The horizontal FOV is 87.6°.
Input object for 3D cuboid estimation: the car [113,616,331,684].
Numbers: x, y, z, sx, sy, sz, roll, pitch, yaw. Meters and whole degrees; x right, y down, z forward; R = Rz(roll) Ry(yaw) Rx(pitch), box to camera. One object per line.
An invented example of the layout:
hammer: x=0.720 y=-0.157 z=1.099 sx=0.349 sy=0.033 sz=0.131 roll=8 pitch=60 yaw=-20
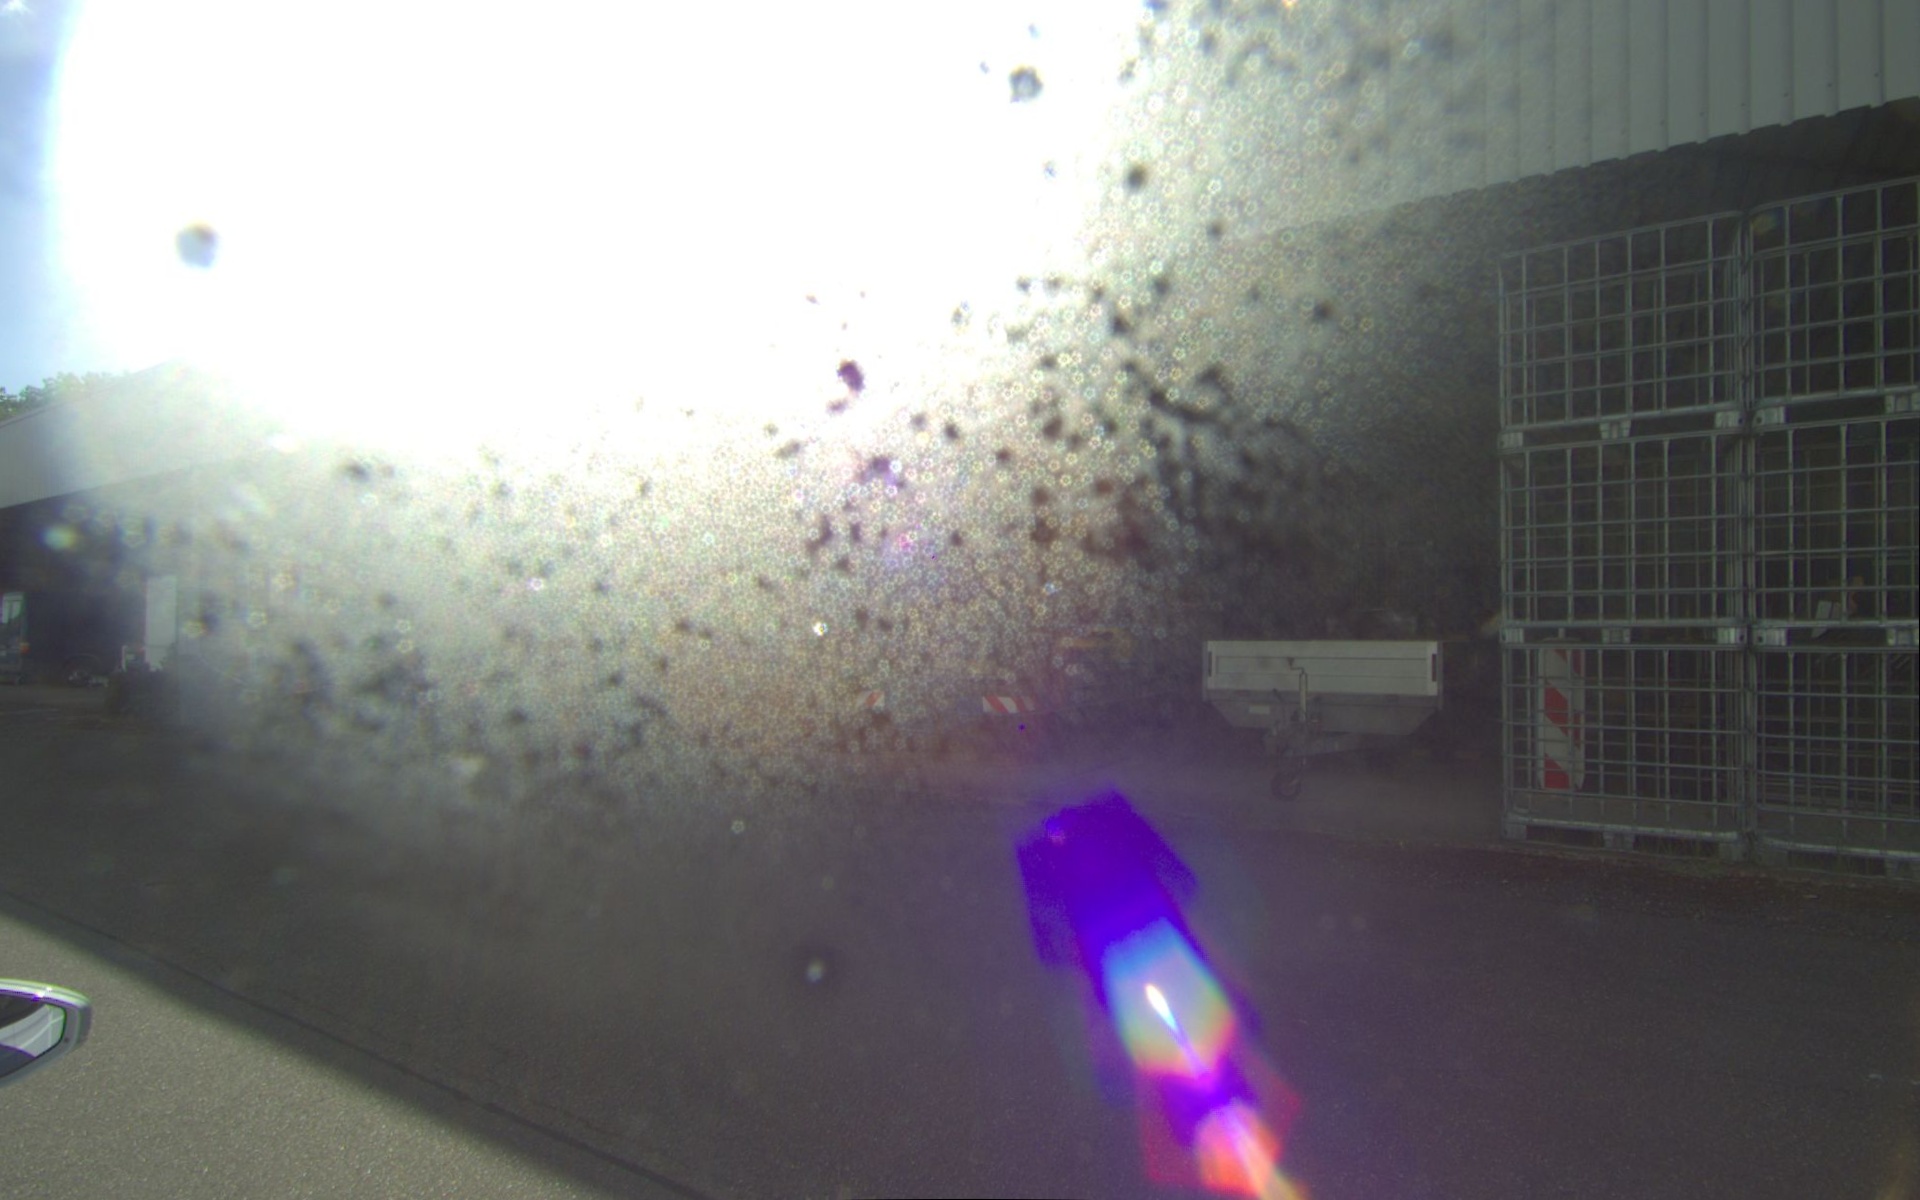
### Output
car: x=-18.236 y=1.274 z=24.926 sx=1.662 sy=1.543 sz=4.031 roll=-3 pitch=-5 yaw=33

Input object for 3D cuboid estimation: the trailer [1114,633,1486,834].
trailer: x=3.486 y=0.920 z=9.191 sx=2.110 sy=1.148 sz=5.840 roll=-1 pitch=-1 yaw=30

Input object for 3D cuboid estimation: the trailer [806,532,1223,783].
trailer: x=0.993 y=0.529 z=11.172 sx=2.049 sy=2.058 sz=5.753 roll=-1 pitch=-1 yaw=33

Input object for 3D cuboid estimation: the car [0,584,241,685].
car: x=-21.389 y=0.961 z=25.655 sx=1.890 sy=2.337 sz=4.425 roll=-3 pitch=-4 yaw=33

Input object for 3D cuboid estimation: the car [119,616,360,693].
car: x=-15.897 y=1.246 z=22.310 sx=1.662 sy=1.543 sz=4.031 roll=-3 pitch=-5 yaw=33

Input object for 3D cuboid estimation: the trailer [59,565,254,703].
trailer: x=-15.282 y=0.651 z=19.110 sx=1.703 sy=2.429 sz=2.518 roll=-2 pitch=-2 yaw=33
